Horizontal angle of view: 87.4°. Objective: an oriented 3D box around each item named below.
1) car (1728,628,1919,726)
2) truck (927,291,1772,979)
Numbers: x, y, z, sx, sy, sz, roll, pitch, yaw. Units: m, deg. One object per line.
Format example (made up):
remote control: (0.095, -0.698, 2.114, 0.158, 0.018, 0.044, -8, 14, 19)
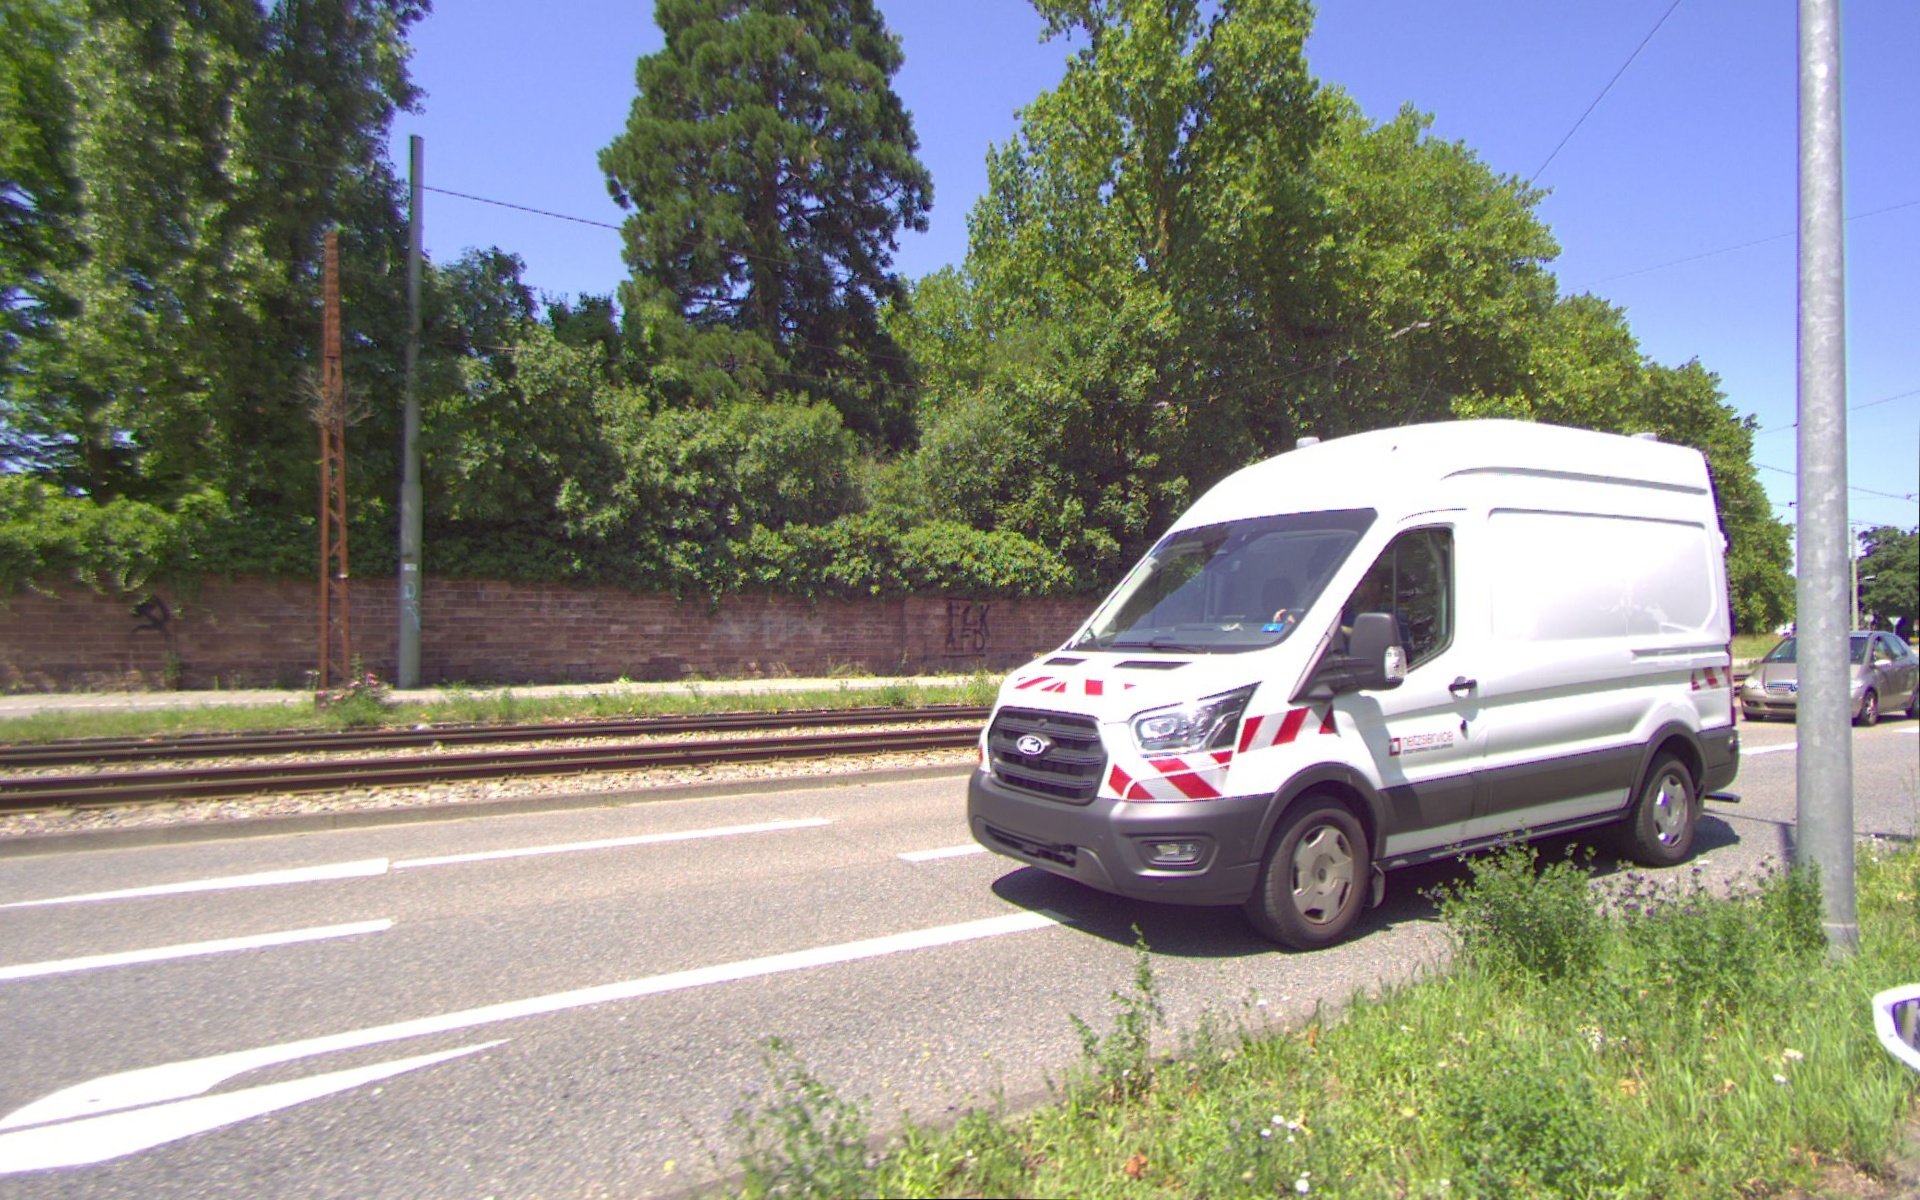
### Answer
car: (15.758, 1.328, 18.154, 3.730, 1.606, 1.819, 1, -3, -33)
truck: (2.675, 0.210, 6.382, 5.483, 2.784, 2.071, 1, -2, -31)
